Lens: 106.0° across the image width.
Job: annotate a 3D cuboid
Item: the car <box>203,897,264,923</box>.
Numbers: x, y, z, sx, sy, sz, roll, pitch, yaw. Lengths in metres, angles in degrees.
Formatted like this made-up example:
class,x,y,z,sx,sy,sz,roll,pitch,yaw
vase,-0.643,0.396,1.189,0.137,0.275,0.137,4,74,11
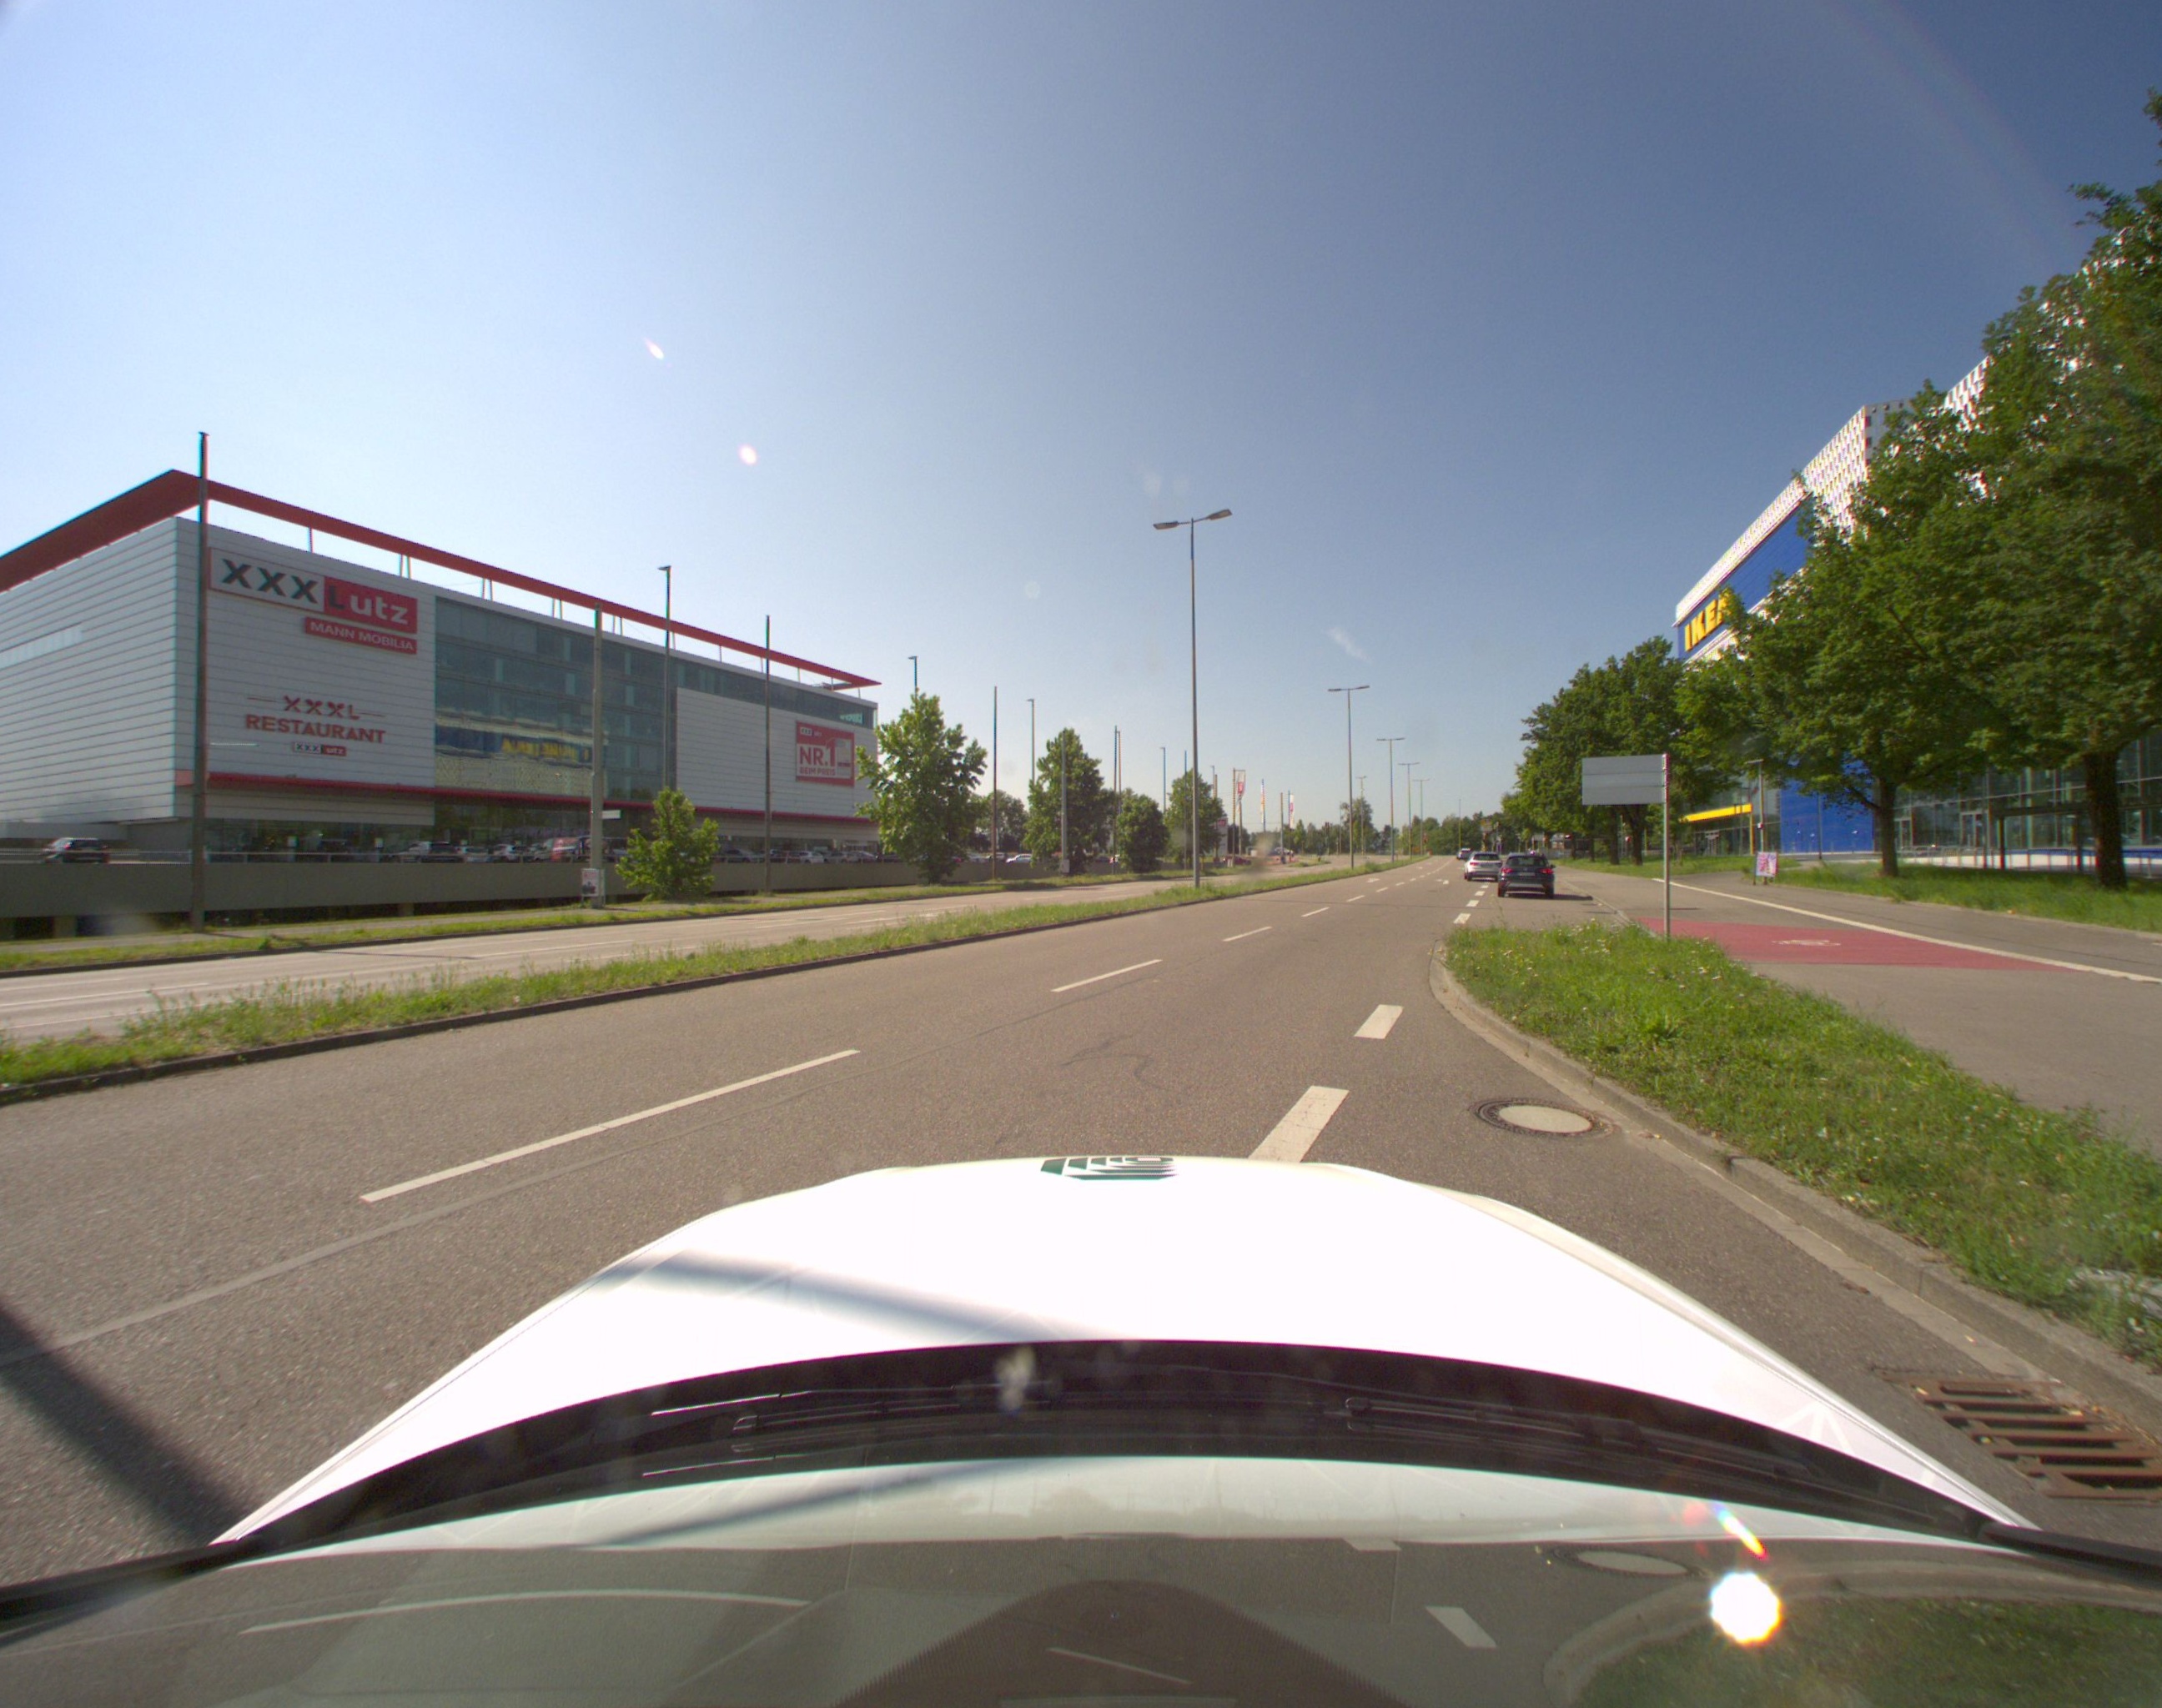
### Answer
class,x,y,z,sx,sy,sz,roll,pitch,yaw
car,-34.649,2.267,33.290,1.920,0.975,1.077,0,-1,23

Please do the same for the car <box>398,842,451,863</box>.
class,x,y,z,sx,sy,sz,roll,pitch,yaw
car,-44.024,-0.081,54.610,2.984,1.330,1.524,-1,-1,24

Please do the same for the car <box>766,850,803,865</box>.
class,x,y,z,sx,sy,sz,roll,pitch,yaw
car,-27.954,0.351,76.813,3.059,1.330,1.524,-1,-1,24

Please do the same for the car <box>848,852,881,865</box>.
class,x,y,z,sx,sy,sz,roll,pitch,yaw
car,-22.795,0.444,85.737,3.059,1.330,1.524,-1,-1,24

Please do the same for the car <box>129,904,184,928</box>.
class,x,y,z,sx,sy,sz,roll,pitch,yaw
car,-41.714,2.770,36.739,1.920,0.975,1.077,0,-1,23

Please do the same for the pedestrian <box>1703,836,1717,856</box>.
class,x,y,z,sx,sy,sz,roll,pitch,yaw
pedestrian,50.540,-0.666,65.462,0.682,1.612,0.775,-2,0,22

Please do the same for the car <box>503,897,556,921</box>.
class,x,y,z,sx,sy,sz,roll,pitch,yaw
car,-24.596,2.421,36.305,1.920,0.975,1.077,0,-1,23

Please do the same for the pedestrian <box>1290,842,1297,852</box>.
class,x,y,z,sx,sy,sz,roll,pitch,yaw
pedestrian,36.568,-1.130,139.973,0.831,1.707,0.911,-2,0,37

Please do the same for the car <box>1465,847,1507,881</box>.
class,x,y,z,sx,sy,sz,roll,pitch,yaw
car,20.751,0.459,41.835,1.617,1.497,3.891,0,3,22

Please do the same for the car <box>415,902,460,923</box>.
class,x,y,z,sx,sy,sz,roll,pitch,yaw
car,-31.614,2.865,39.992,1.920,0.975,0.915,0,-1,23

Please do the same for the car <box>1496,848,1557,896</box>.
class,x,y,z,sx,sy,sz,roll,pitch,yaw
car,15.397,0.565,28.267,1.654,1.523,3.396,0,1,26

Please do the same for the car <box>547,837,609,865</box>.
class,x,y,z,sx,sy,sz,roll,pitch,yaw
car,-29.434,-0.155,47.680,2.742,1.556,1.784,-1,0,24

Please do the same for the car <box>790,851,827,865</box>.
class,x,y,z,sx,sy,sz,roll,pitch,yaw
car,-26.451,0.365,79.097,3.059,1.330,1.713,-1,-1,24

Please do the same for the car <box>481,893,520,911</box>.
class,x,y,z,sx,sy,sz,roll,pitch,yaw
car,-35.468,2.922,49.757,1.920,0.975,1.077,0,-1,23

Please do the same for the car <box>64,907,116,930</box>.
class,x,y,z,sx,sy,sz,roll,pitch,yaw
car,-48.123,3.128,39.547,1.920,0.975,1.077,0,-1,23

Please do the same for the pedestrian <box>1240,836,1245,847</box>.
class,x,y,z,sx,sy,sz,roll,pitch,yaw
pedestrian,28.773,-2.232,145.151,0.709,1.972,0.923,-1,-1,30

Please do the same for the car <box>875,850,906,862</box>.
class,x,y,z,sx,sy,sz,roll,pitch,yaw
car,-20.865,0.237,89.122,3.059,1.294,1.524,-1,-1,25

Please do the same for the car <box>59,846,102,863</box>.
class,x,y,z,sx,sy,sz,roll,pitch,yaw
car,-58.223,0.027,47.401,1.920,0.975,1.077,0,-1,23

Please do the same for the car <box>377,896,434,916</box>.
class,x,y,z,sx,sy,sz,roll,pitch,yaw
car,-22.976,1.752,27.718,1.545,0.620,0.863,0,-1,23

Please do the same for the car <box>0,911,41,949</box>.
class,x,y,z,sx,sy,sz,roll,pitch,yaw
car,-30.859,2.157,23.315,1.826,0.975,0.871,0,-1,23

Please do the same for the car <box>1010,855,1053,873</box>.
class,x,y,z,sx,sy,sz,roll,pitch,yaw
car,-5.938,1.210,97.212,4.629,2.013,2.041,-2,0,22

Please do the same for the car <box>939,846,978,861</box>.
class,x,y,z,sx,sy,sz,roll,pitch,yaw
car,-8.488,-0.023,56.563,2.491,1.059,1.077,0,-1,23

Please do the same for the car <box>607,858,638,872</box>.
class,x,y,z,sx,sy,sz,roll,pitch,yaw
car,-34.360,0.803,61.011,1.920,0.975,1.077,-1,0,23

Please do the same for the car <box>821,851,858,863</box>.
class,x,y,z,sx,sy,sz,roll,pitch,yaw
car,-24.695,0.358,83.254,3.467,1.199,1.489,-1,-1,24

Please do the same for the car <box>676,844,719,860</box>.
class,x,y,z,sx,sy,sz,roll,pitch,yaw
car,-32.275,-0.139,68.574,3.185,1.330,1.524,-1,-1,24

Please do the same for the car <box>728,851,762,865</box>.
class,x,y,z,sx,sy,sz,roll,pitch,yaw
car,-32.496,0.414,78.758,3.106,1.330,1.308,-1,-1,24

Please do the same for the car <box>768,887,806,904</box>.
class,x,y,z,sx,sy,sz,roll,pitch,yaw
car,-17.846,2.507,49.403,1.920,0.975,1.077,0,-1,23

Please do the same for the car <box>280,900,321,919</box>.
class,x,y,z,sx,sy,sz,roll,pitch,yaw
car,-44.083,3.127,45.978,1.920,0.975,0.965,0,-1,23

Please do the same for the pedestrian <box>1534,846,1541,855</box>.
class,x,y,z,sx,sy,sz,roll,pitch,yaw
pedestrian,74.308,-0.556,132.559,0.765,1.510,1.014,-1,1,37

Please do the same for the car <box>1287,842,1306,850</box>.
class,x,y,z,sx,sy,sz,roll,pitch,yaw
car,41.779,-1.602,157.849,3.314,1.500,1.417,0,-1,21

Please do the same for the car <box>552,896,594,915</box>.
class,x,y,z,sx,sy,sz,roll,pitch,yaw
car,-28.676,2.893,45.945,1.920,0.975,1.077,0,-1,23

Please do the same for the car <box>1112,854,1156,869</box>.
class,x,y,z,sx,sy,sz,roll,pitch,yaw
car,5.739,0.830,88.757,4.373,1.628,1.881,-1,-2,23

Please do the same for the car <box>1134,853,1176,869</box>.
class,x,y,z,sx,sy,sz,roll,pitch,yaw
car,8.443,0.798,92.891,4.372,1.842,1.957,-1,-1,25

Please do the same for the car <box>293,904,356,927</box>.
class,x,y,z,sx,sy,sz,roll,pitch,yaw
car,-27.672,2.244,29.799,2.062,0.733,0.912,0,-1,23

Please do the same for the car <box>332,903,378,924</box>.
class,x,y,z,sx,sy,sz,roll,pitch,yaw
car,-38.586,3.150,43.263,1.920,0.975,1.077,0,-1,23

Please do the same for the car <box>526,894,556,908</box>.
class,x,y,z,sx,sy,sz,roll,pitch,yaw
car,-39.379,3.406,59.390,1.920,0.975,0.927,0,-1,23

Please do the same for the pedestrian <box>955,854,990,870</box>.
class,x,y,z,sx,sy,sz,roll,pitch,yaw
pedestrian,-14.083,1.016,105.731,4.015,2.014,1.979,0,-1,-34

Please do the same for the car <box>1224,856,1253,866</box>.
class,x,y,z,sx,sy,sz,roll,pitch,yaw
car,24.460,1.112,126.615,4.147,1.605,1.836,0,-1,21

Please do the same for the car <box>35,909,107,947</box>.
class,x,y,z,sx,sy,sz,roll,pitch,yaw
car,-26.440,1.919,21.320,1.488,0.882,0.796,0,-1,23
